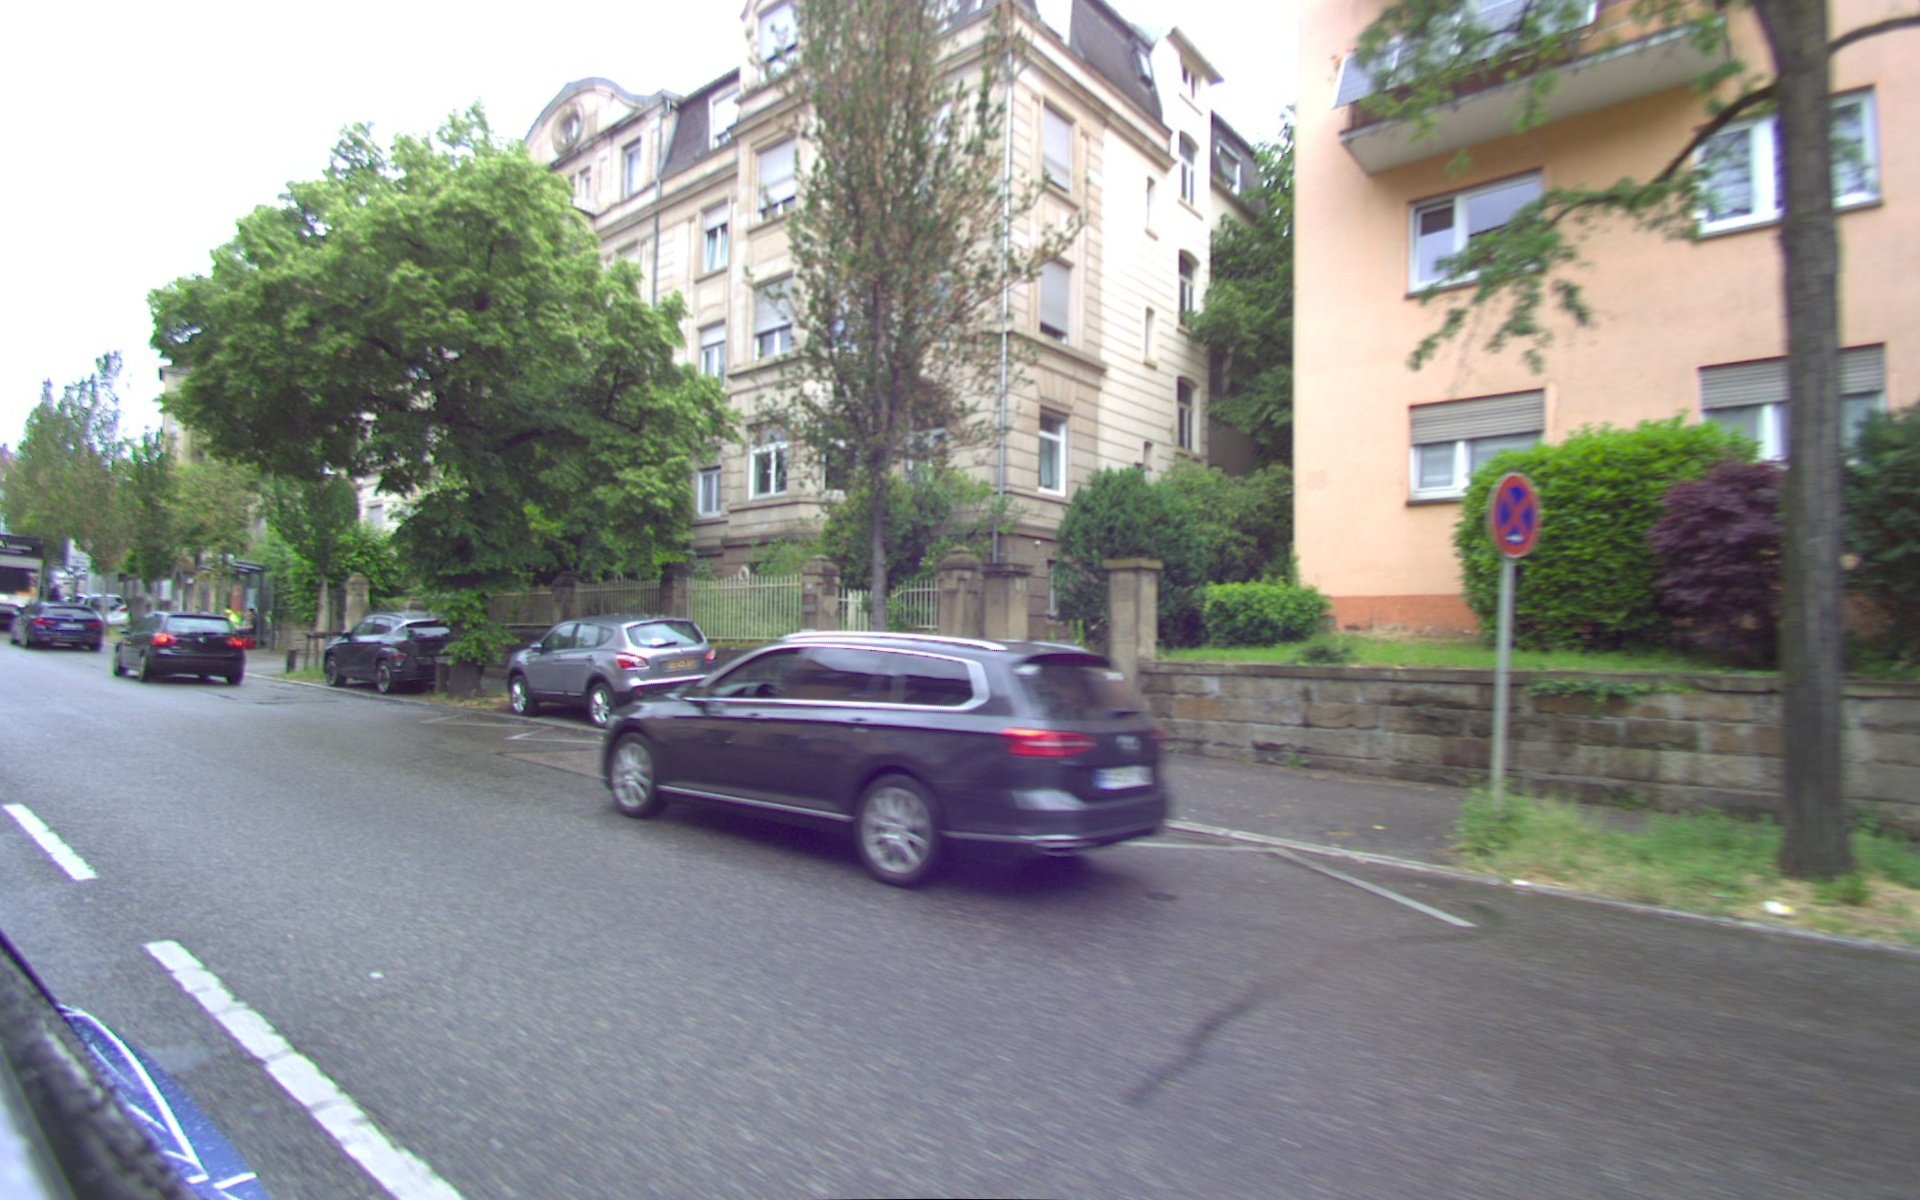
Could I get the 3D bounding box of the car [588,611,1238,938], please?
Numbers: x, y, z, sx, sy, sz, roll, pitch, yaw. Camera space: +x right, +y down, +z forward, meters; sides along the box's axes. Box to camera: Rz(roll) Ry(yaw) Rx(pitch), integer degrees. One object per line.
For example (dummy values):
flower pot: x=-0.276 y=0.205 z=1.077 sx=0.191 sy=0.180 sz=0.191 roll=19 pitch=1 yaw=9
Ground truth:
car: x=-0.571 y=0.915 z=7.144 sx=4.545 sy=1.529 sz=1.797 roll=1 pitch=-2 yaw=40

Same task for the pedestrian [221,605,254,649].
pedestrian: x=-24.694 y=0.933 z=34.595 sx=0.649 sy=1.443 sz=0.758 roll=2 pitch=-2 yaw=43

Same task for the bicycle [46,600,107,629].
bicycle: x=-39.801 y=0.670 z=45.619 sx=0.657 sy=1.245 sz=1.955 roll=2 pitch=-2 yaw=40

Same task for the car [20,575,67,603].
car: x=-55.763 y=-0.698 z=61.566 sx=1.973 sy=1.607 sz=3.831 roll=-1 pitch=3 yaw=-44

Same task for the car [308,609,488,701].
car: x=-11.720 y=1.054 z=21.006 sx=4.296 sy=1.571 sz=1.725 roll=2 pitch=2 yaw=38

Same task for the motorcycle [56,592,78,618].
motorcycle: x=-46.329 y=0.263 z=52.512 sx=1.983 sy=1.245 sz=0.648 roll=2 pitch=-2 yaw=44

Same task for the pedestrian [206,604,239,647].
pedestrian: x=-25.640 y=0.878 z=35.188 sx=0.760 sy=1.443 sz=0.757 roll=2 pitch=-2 yaw=44

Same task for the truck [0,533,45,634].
truck: x=-40.921 y=-0.718 z=42.669 sx=9.310 sy=3.884 sz=2.618 roll=1 pitch=-3 yaw=44

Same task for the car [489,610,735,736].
car: x=-5.513 y=1.004 z=15.763 sx=4.300 sy=1.571 sz=1.723 roll=2 pitch=1 yaw=41

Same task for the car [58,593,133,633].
car: x=-37.438 y=0.527 z=43.783 sx=4.297 sy=1.571 sz=1.724 roll=2 pitch=1 yaw=39

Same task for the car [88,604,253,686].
car: x=-17.175 y=0.893 z=21.943 sx=4.584 sy=1.529 sz=1.755 roll=1 pitch=1 yaw=38

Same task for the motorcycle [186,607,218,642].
motorcycle: x=-29.120 y=0.938 z=38.875 sx=1.763 sy=1.246 sz=0.648 roll=2 pitch=-2 yaw=44

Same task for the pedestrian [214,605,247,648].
pedestrian: x=-25.141 y=0.905 z=34.866 sx=0.649 sy=1.443 sz=0.758 roll=2 pitch=-2 yaw=43

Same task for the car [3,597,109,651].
car: x=-28.910 y=0.753 z=32.313 sx=4.744 sy=1.478 sz=1.754 roll=1 pitch=-5 yaw=40
